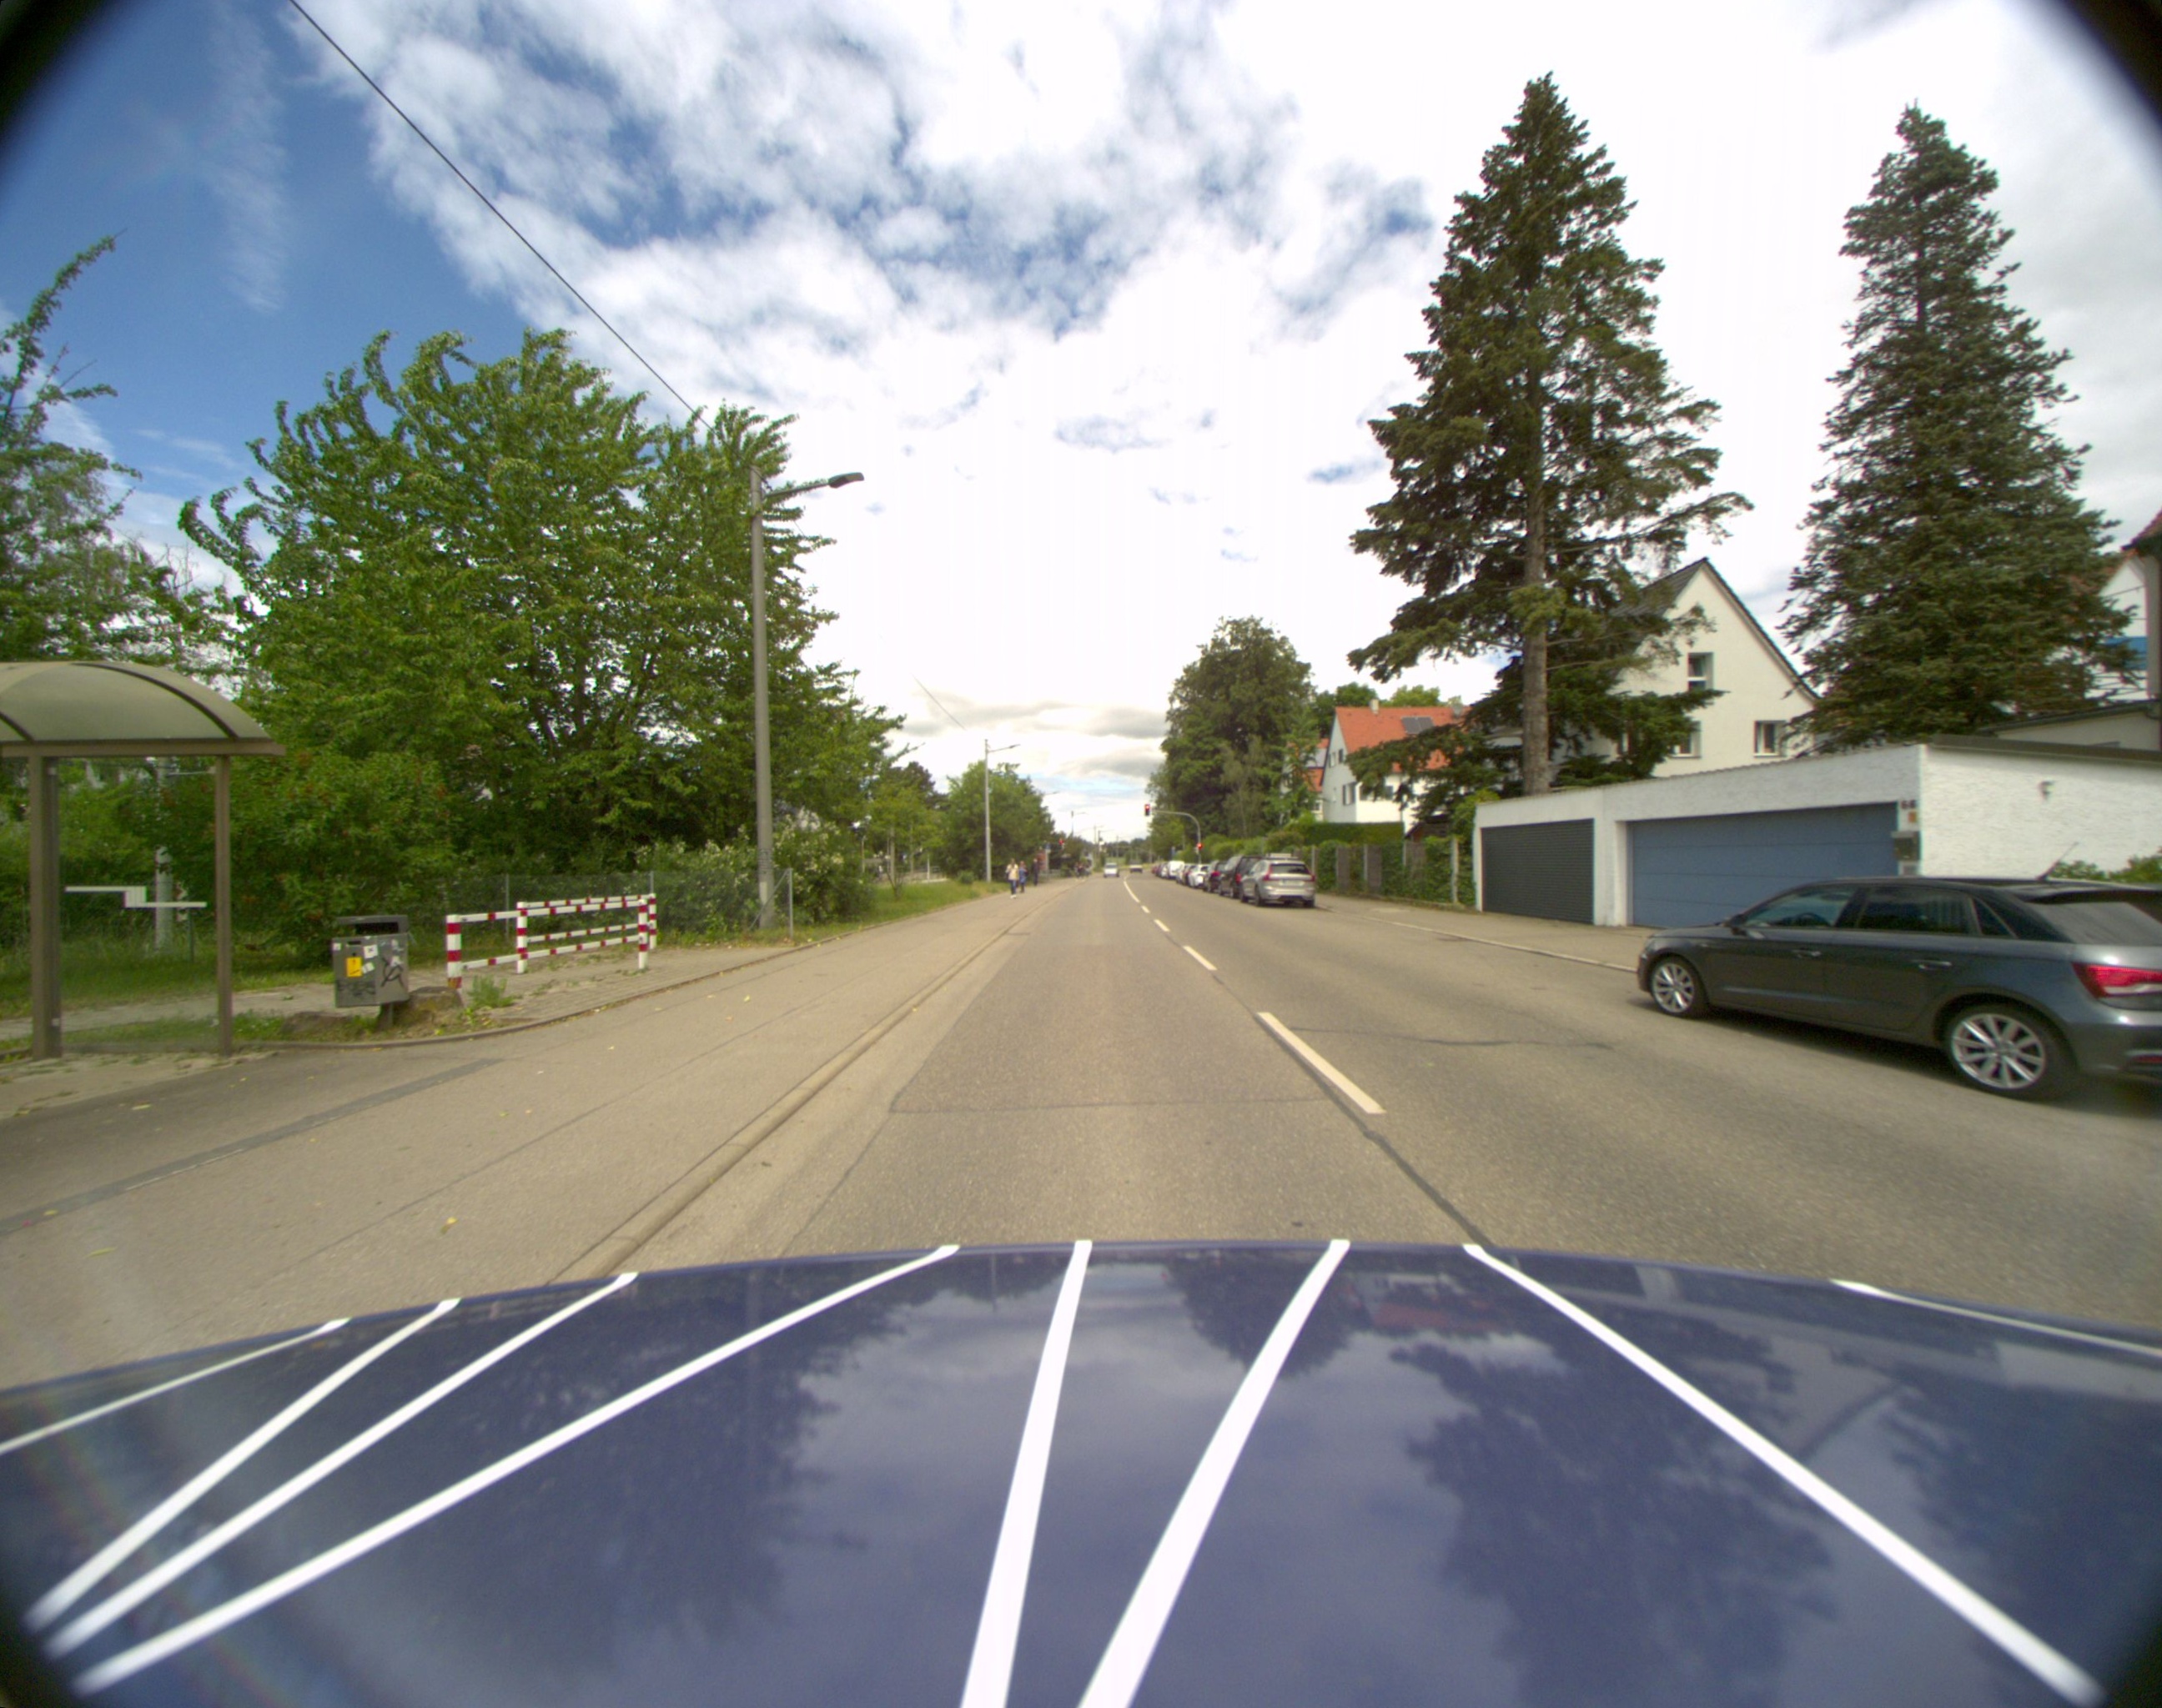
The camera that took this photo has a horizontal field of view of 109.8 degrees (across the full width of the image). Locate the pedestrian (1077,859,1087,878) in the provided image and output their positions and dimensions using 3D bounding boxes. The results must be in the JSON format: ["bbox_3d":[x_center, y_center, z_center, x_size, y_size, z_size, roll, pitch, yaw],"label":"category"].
[{"bbox_3d":[0.090,1.289,66.651,0.649,1.654,0.708,-2,0,8],"label":"pedestrian"}]

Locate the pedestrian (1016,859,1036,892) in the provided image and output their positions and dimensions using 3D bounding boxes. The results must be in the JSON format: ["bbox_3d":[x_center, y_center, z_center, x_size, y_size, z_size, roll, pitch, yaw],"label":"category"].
[{"bbox_3d":[-2.805,1.100,38.795,0.841,1.649,0.766,-2,0,7],"label":"pedestrian"}]

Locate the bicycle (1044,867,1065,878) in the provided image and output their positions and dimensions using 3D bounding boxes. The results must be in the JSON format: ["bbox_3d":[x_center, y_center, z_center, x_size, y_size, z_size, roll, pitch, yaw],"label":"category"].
[{"bbox_3d":[-2.858,1.949,81.126,2.093,1.041,0.559,-3,0,6],"label":"bicycle"}]

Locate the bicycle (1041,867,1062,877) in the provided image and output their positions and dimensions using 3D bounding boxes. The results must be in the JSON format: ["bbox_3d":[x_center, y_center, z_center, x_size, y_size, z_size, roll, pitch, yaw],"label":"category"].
[{"bbox_3d":[-3.077,1.873,79.731,2.092,1.074,0.547,0,0,6],"label":"bicycle"}]

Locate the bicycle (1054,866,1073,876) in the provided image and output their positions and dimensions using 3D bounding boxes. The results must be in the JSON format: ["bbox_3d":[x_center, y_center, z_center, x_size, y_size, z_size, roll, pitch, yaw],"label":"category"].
[{"bbox_3d":[-2.021,1.956,89.616,2.204,1.142,0.452,-1,0,9],"label":"bicycle"}]

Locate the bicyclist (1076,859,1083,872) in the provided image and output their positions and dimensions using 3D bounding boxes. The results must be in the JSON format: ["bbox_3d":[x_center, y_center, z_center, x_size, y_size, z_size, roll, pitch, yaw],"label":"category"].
[{"bbox_3d":[-0.172,1.319,86.601,0.826,1.529,0.862,-1,0,3],"label":"bicyclist"}]

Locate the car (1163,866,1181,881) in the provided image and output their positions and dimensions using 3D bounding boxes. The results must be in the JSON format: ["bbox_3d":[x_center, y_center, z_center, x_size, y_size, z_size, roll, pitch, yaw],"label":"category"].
[{"bbox_3d":[9.268,1.975,77.277,1.708,1.444,4.360,2,0,7],"label":"car"}]

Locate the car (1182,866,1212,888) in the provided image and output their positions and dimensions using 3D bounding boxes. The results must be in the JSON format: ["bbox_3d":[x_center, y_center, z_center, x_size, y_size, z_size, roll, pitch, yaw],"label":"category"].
[{"bbox_3d":[7.841,1.503,51.658,1.746,1.402,4.325,1,-1,4],"label":"car"}]

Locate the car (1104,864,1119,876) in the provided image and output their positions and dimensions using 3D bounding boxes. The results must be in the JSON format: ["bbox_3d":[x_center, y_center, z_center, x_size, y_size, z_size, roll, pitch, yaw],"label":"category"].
[{"bbox_3d":[3.509,1.847,87.875,1.665,1.394,3.901,-1,-1,3],"label":"car"}]

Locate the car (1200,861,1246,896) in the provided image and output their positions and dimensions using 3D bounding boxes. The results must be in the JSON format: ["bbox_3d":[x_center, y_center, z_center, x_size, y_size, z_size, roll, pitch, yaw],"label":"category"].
[{"bbox_3d":[7.277,1.232,39.351,1.630,1.668,4.585,2,-1,2],"label":"car"}]

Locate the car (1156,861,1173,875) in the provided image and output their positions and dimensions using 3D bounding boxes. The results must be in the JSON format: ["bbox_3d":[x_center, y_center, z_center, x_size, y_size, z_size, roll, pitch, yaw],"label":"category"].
[{"bbox_3d":[10.290,1.719,93.957,1.794,1.601,4.418,-1,-1,1],"label":"car"}]

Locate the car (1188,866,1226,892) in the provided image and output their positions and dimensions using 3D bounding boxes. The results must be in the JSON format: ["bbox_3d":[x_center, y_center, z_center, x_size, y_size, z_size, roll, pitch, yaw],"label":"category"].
[{"bbox_3d":[7.590,1.445,46.077,1.809,1.450,5.071,1,-1,4],"label":"car"}]

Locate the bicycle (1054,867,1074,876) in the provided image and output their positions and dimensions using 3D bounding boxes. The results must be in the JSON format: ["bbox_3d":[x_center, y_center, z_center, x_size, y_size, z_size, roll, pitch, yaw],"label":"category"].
[{"bbox_3d":[-1.982,2.045,87.708,2.206,0.932,0.451,-2,0,1],"label":"bicycle"}]

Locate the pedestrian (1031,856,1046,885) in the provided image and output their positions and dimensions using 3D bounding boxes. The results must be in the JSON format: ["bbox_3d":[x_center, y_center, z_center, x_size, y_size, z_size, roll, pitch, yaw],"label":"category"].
[{"bbox_3d":[-2.823,1.096,50.344,0.746,1.871,0.802,-2,0,9],"label":"pedestrian"}]

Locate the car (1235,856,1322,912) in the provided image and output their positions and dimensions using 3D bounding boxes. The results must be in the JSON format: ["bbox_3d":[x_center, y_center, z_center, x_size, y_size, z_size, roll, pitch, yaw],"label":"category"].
[{"bbox_3d":[6.920,1.012,27.124,1.989,1.808,4.709,-1,-1,2],"label":"car"}]

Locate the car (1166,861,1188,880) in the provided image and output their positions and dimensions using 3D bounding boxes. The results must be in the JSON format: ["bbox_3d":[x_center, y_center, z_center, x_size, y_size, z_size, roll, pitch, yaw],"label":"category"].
[{"bbox_3d":[9.060,1.547,72.302,1.680,1.748,4.609,1,-1,3],"label":"car"}]

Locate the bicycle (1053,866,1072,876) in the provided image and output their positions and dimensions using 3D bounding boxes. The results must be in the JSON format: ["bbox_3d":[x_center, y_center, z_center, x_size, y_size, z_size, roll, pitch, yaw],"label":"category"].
[{"bbox_3d":[-2.086,1.949,87.169,2.093,1.144,0.530,-1,0,1],"label":"bicycle"}]

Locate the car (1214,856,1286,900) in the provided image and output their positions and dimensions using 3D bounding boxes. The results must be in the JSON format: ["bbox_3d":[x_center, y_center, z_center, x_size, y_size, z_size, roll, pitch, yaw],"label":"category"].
[{"bbox_3d":[7.286,0.992,33.256,2.072,1.744,4.884,-2,0,1],"label":"car"}]

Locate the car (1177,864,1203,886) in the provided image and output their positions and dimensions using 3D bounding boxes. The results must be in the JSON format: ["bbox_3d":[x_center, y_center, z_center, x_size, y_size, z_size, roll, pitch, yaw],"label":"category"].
[{"bbox_3d":[8.147,1.558,56.916,1.706,1.534,3.744,1,-1,4],"label":"car"}]

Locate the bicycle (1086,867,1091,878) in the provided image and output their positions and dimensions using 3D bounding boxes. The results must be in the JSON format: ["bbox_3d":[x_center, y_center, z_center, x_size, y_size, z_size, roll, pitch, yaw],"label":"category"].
[{"bbox_3d":[0.894,2.103,87.283,0.451,1.278,2.208,-2,0,-1],"label":"bicycle"}]

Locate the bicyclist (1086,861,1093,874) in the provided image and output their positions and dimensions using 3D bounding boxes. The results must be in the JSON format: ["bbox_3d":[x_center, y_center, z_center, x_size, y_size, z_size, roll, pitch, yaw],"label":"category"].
[{"bbox_3d":[0.966,1.533,87.166,0.826,1.529,0.862,-2,0,1],"label":"bicyclist"}]

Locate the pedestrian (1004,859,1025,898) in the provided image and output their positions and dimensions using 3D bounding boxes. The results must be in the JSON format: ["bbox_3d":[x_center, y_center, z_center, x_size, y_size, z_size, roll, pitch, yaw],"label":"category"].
[{"bbox_3d":[-2.860,1.057,32.659,0.687,1.649,0.690,-2,0,7],"label":"pedestrian"}]

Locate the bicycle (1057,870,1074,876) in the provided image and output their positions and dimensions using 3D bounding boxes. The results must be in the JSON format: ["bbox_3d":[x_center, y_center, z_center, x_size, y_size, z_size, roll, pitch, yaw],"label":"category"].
[{"bbox_3d":[-1.830,2.223,90.469,1.988,0.635,0.332,-2,0,-7],"label":"bicycle"}]

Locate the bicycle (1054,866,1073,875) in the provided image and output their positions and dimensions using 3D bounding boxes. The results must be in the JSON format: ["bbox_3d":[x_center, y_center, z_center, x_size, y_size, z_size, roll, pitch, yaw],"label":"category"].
[{"bbox_3d":[-2.016,1.876,88.159,2.206,1.041,0.451,-1,0,2],"label":"bicycle"}]

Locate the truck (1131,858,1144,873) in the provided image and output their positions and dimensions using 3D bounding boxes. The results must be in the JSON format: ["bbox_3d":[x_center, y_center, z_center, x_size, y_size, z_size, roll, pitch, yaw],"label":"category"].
[{"bbox_3d":[9.458,1.958,127.845,2.194,2.357,6.907,1,-1,4],"label":"truck"}]

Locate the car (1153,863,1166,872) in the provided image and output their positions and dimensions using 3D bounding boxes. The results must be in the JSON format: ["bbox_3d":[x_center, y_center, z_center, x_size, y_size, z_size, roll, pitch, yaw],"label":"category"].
[{"bbox_3d":[12.527,2.117,120.724,1.971,1.394,4.067,-1,-1,5],"label":"car"}]

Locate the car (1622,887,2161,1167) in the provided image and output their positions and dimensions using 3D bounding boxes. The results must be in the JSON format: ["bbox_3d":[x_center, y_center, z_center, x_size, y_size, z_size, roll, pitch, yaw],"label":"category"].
[{"bbox_3d":[6.644,1.038,6.126,1.656,1.418,3.905,1,-1,-3],"label":"car"}]

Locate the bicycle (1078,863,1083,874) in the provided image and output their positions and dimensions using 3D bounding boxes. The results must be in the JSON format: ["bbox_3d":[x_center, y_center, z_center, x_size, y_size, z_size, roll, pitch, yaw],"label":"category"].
[{"bbox_3d":[-0.029,1.655,86.544,0.451,1.142,2.208,-1,0,3],"label":"bicycle"}]
